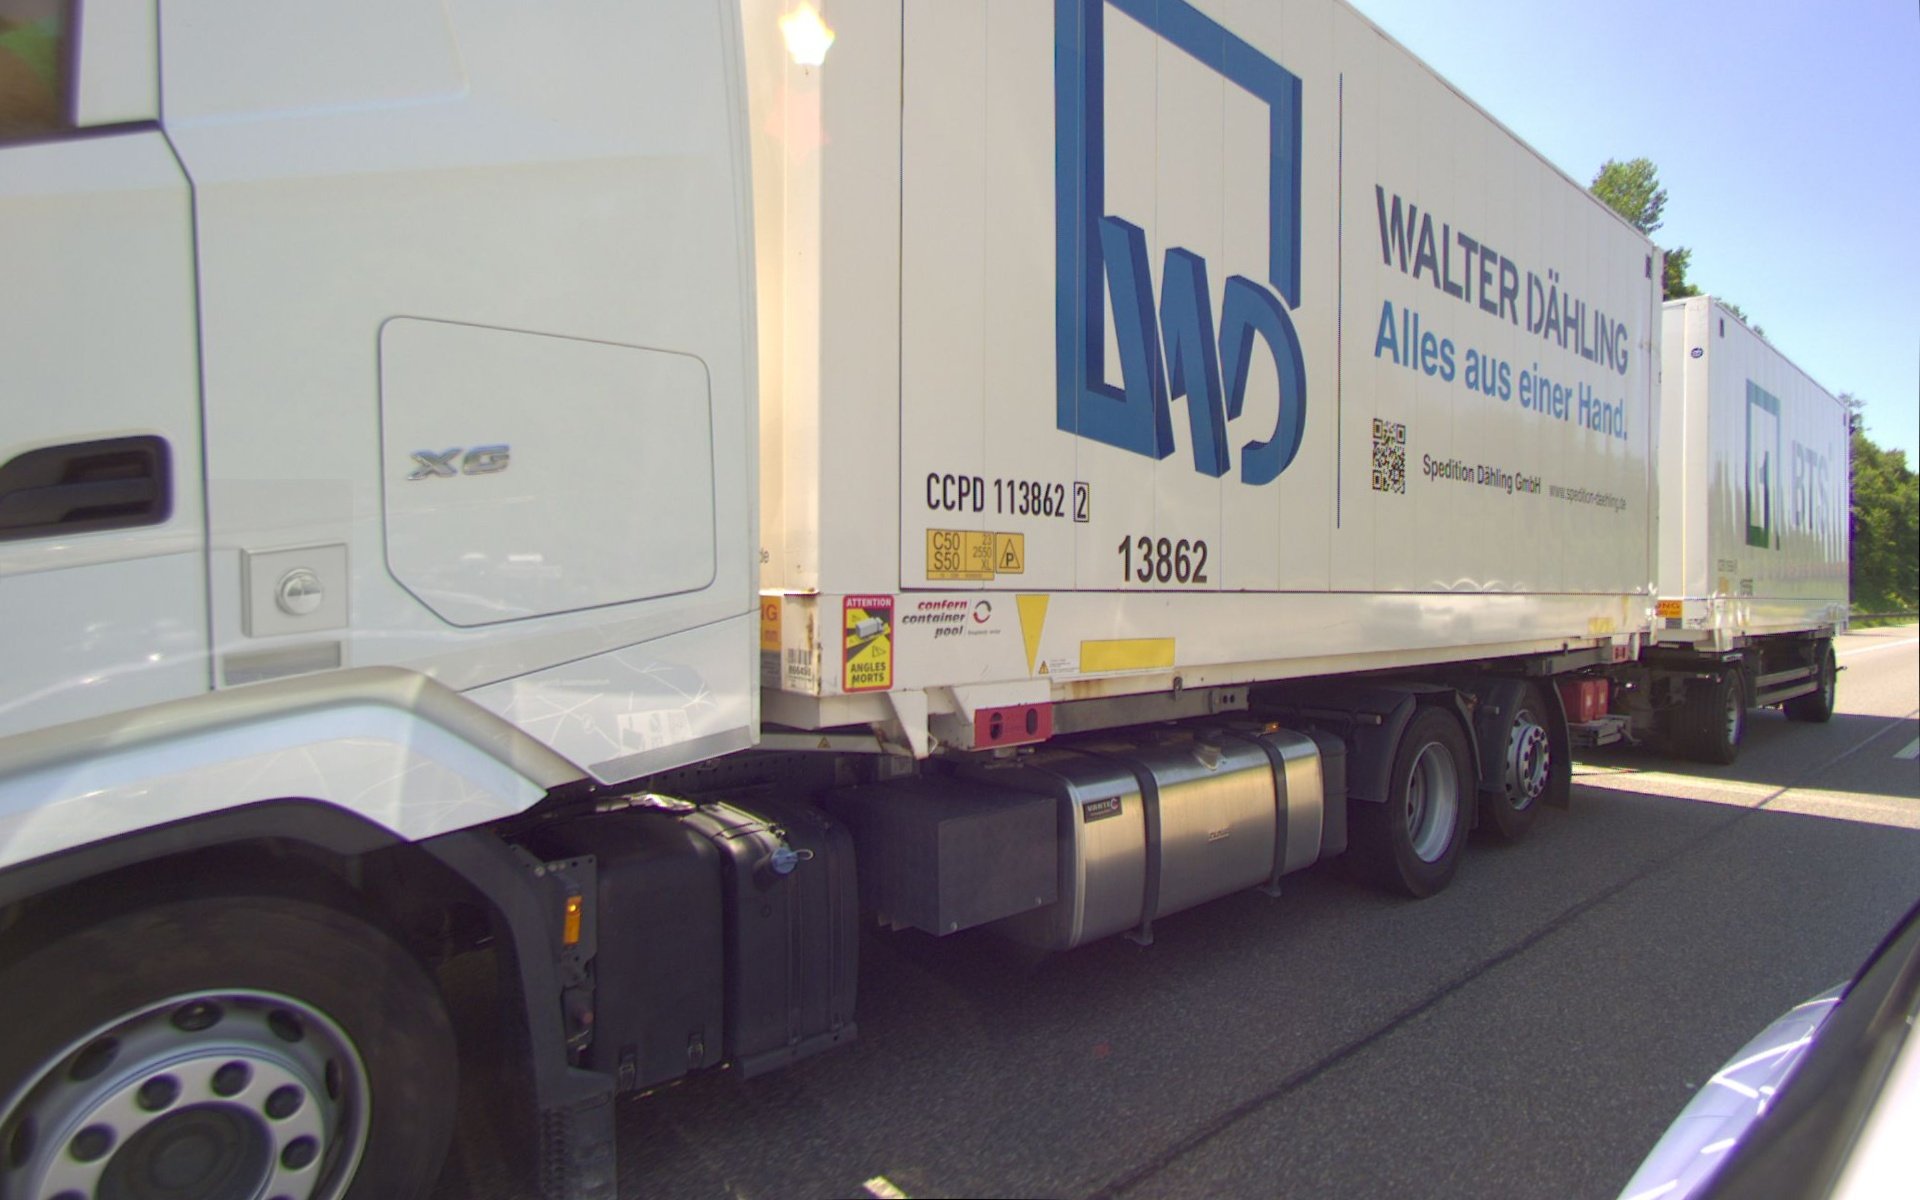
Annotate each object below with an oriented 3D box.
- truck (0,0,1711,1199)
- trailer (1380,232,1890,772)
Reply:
[{"bbox_3d":[0.971,-0.707,5.399,10.438,4.111,2.685,1,-1,-41],"label":"truck"},{"bbox_3d":[8.727,-0.703,12.221,9.889,4.229,2.684,1,-1,-42],"label":"trailer"}]
